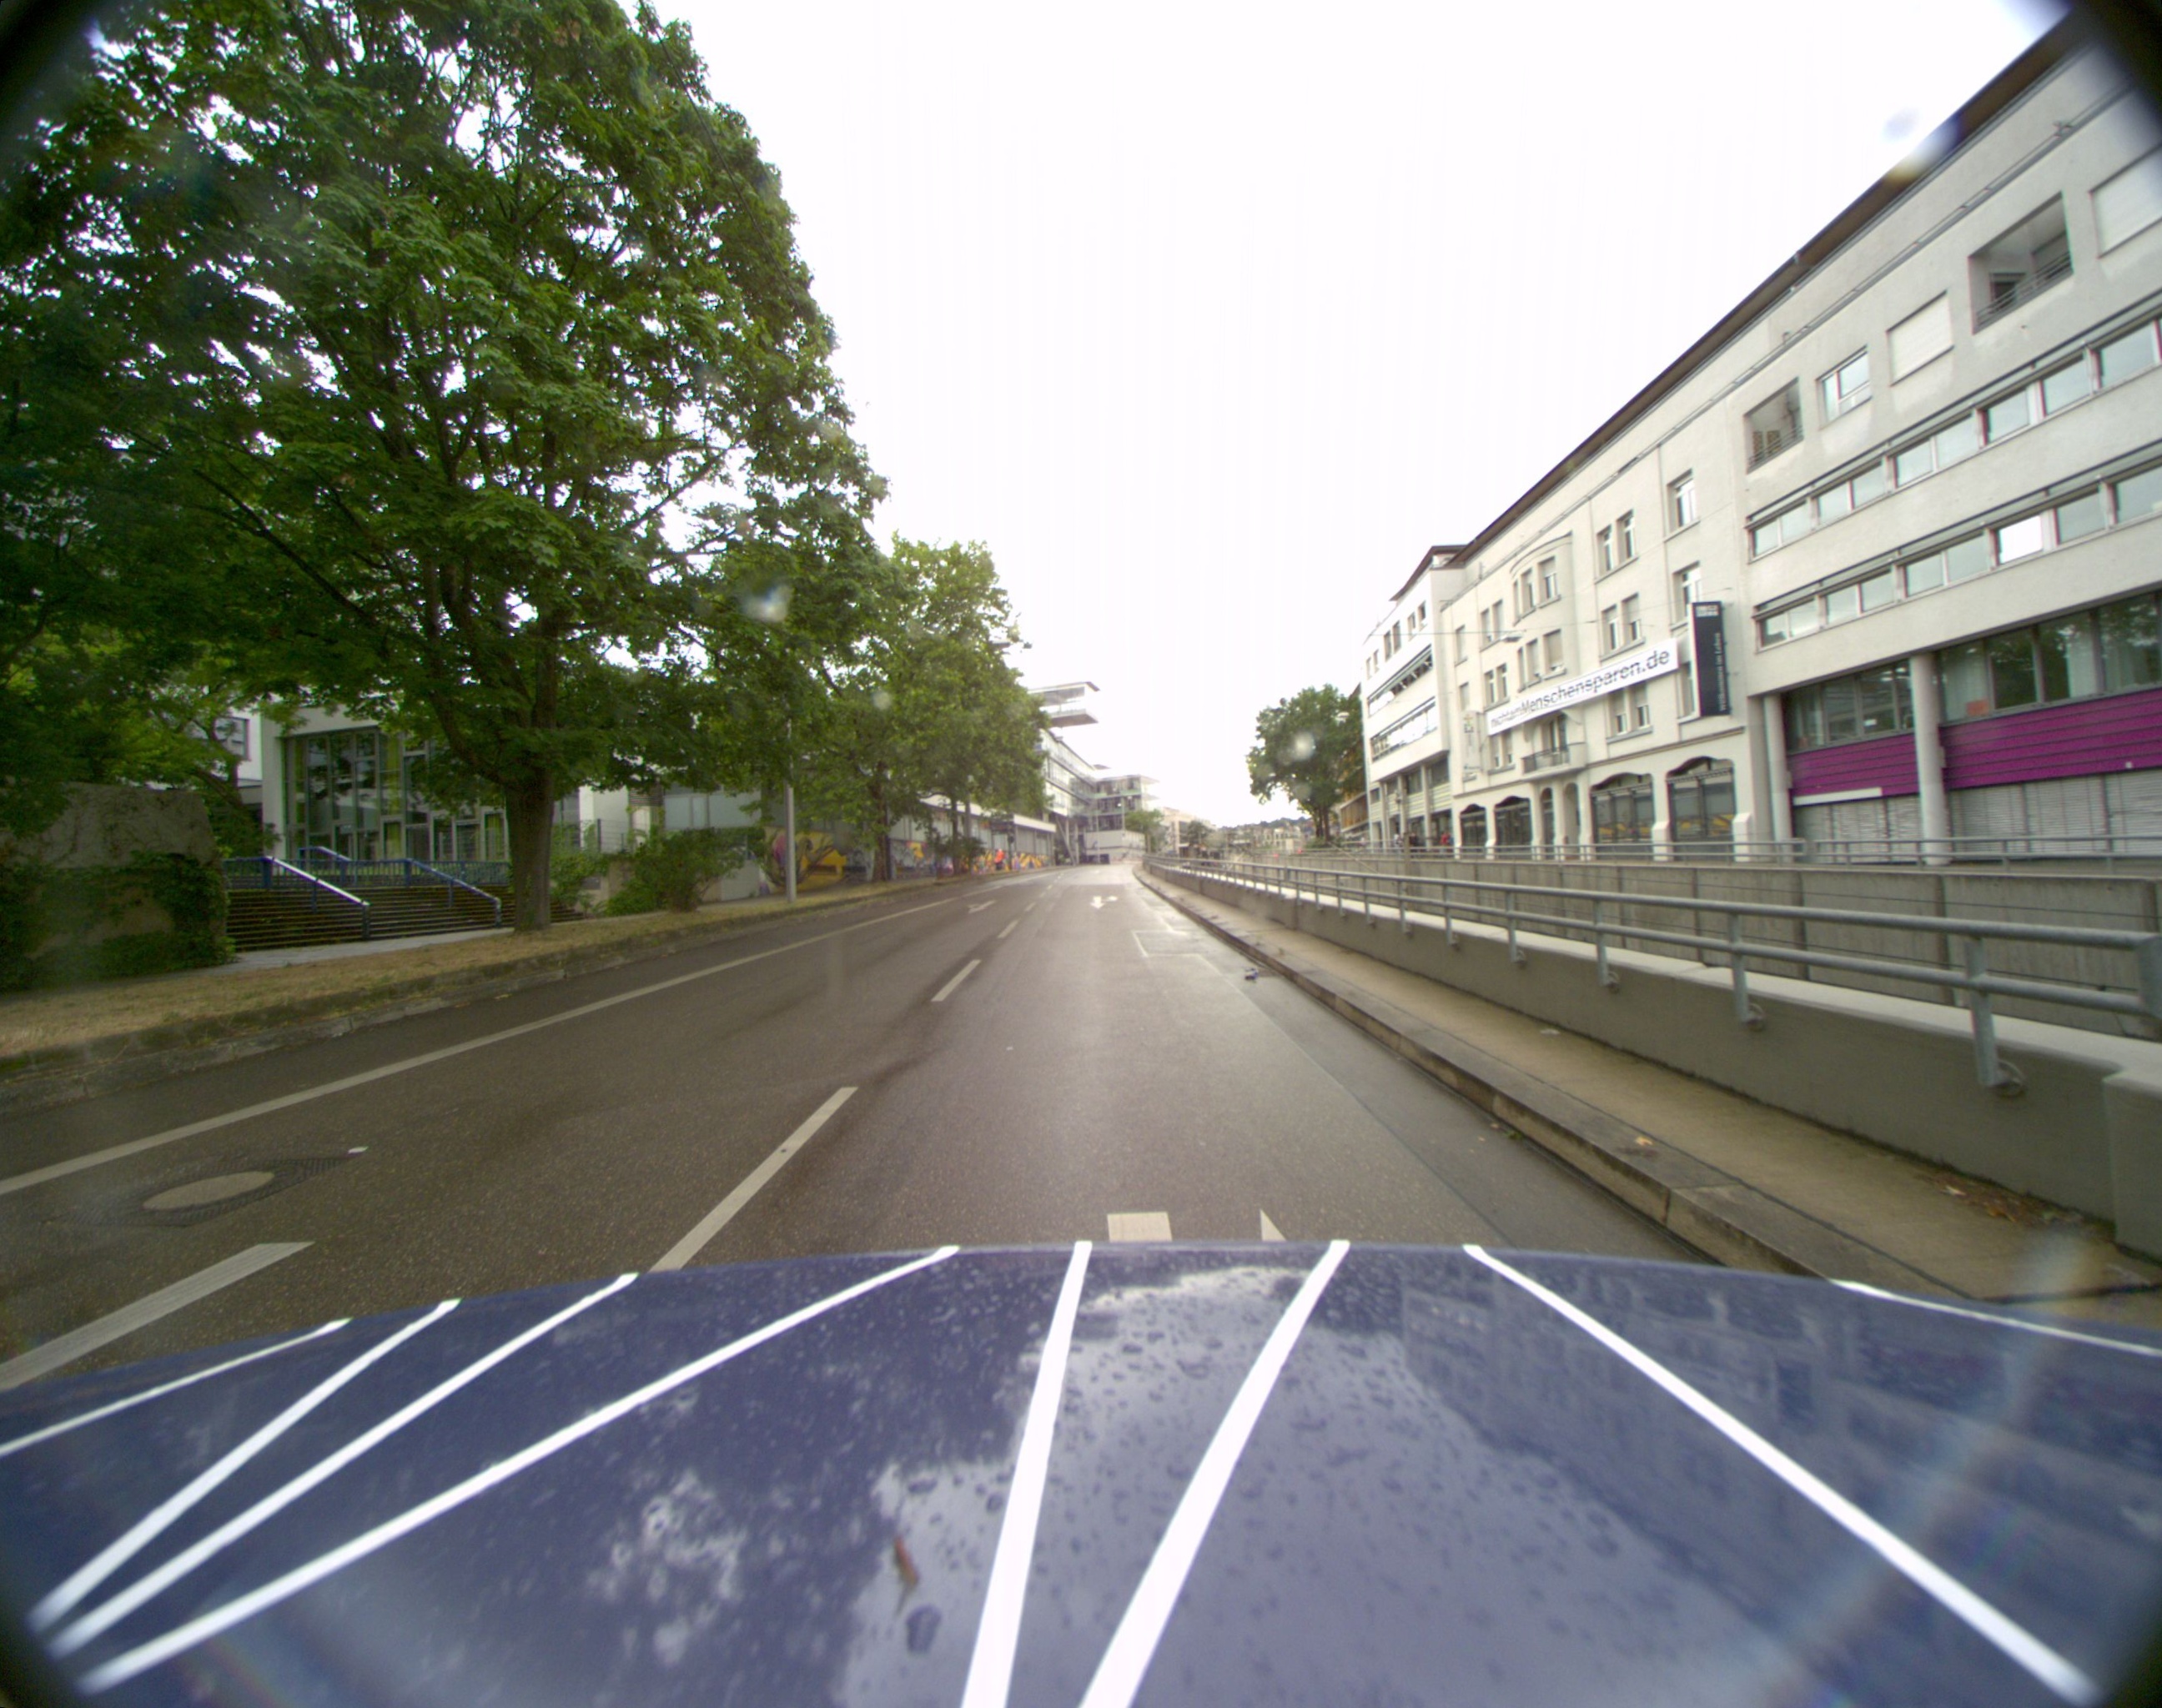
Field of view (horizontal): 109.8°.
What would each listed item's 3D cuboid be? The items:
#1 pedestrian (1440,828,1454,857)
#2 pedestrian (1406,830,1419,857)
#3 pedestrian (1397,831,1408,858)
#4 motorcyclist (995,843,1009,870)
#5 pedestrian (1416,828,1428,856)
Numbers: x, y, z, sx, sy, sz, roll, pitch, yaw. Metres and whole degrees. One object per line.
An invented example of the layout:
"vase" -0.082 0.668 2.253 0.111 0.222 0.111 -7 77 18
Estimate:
"pedestrian" 22.828 -0.725 47.370 0.470 1.792 0.547 -4 1 0
"pedestrian" 22.484 -0.699 51.572 0.547 1.792 0.470 -4 1 -7
"pedestrian" 21.678 -0.655 51.302 0.469 1.792 0.548 -4 1 8
"motorcyclist" -6.057 0.193 58.420 0.754 2.002 1.002 -4 0 9
"pedestrian" 22.575 -0.777 50.310 0.470 1.792 0.547 -4 1 3
